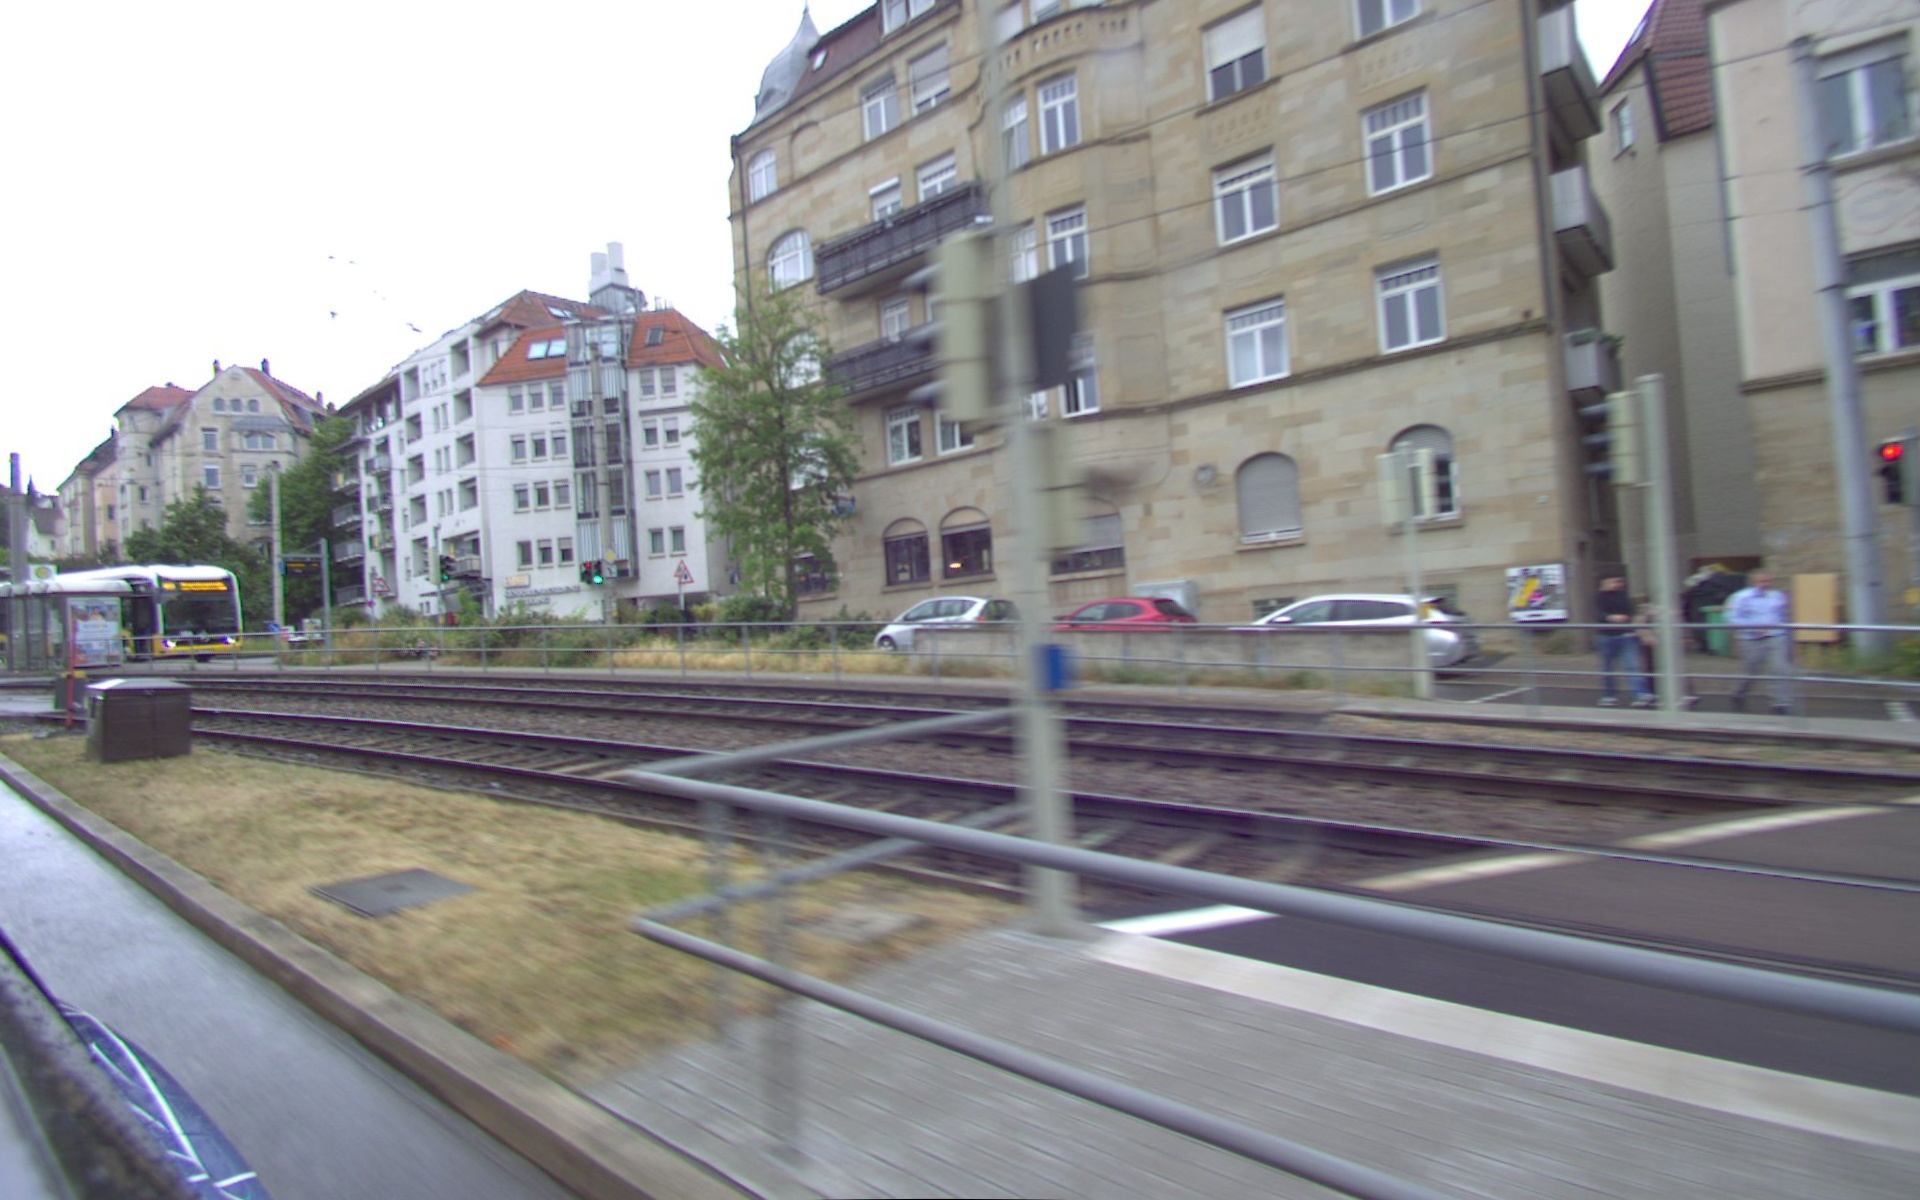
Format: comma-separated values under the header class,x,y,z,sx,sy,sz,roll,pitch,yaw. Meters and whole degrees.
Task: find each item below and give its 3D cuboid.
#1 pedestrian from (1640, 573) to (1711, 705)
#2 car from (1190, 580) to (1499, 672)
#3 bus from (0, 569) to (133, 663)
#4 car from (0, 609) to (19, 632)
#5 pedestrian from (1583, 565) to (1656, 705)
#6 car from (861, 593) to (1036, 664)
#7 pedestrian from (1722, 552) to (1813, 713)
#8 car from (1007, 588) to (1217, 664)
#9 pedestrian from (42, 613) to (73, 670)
class,x,y,z,sx,sy,sz,roll,pitch,yaw
pedestrian,8.622,0.470,12.201,0.620,1.543,0.515,-2,-4,41
car,6.741,0.454,18.081,4.863,1.453,1.700,-2,0,39
bus,-36.914,0.677,40.975,9.077,3.495,2.571,-1,-1,32
car,-89.093,1.929,94.001,3.997,2.029,1.973,-2,-1,40
pedestrian,7.865,0.423,12.069,0.620,1.605,0.618,-2,-4,41
car,-0.343,0.682,24.434,4.172,1.559,1.614,-2,0,40
pedestrian,9.036,0.362,11.322,0.728,1.713,0.712,-2,-3,41
car,3.154,0.538,21.502,4.172,1.453,1.614,-2,0,41
pedestrian,-28.355,1.287,31.806,0.541,1.765,0.572,-1,-1,29
